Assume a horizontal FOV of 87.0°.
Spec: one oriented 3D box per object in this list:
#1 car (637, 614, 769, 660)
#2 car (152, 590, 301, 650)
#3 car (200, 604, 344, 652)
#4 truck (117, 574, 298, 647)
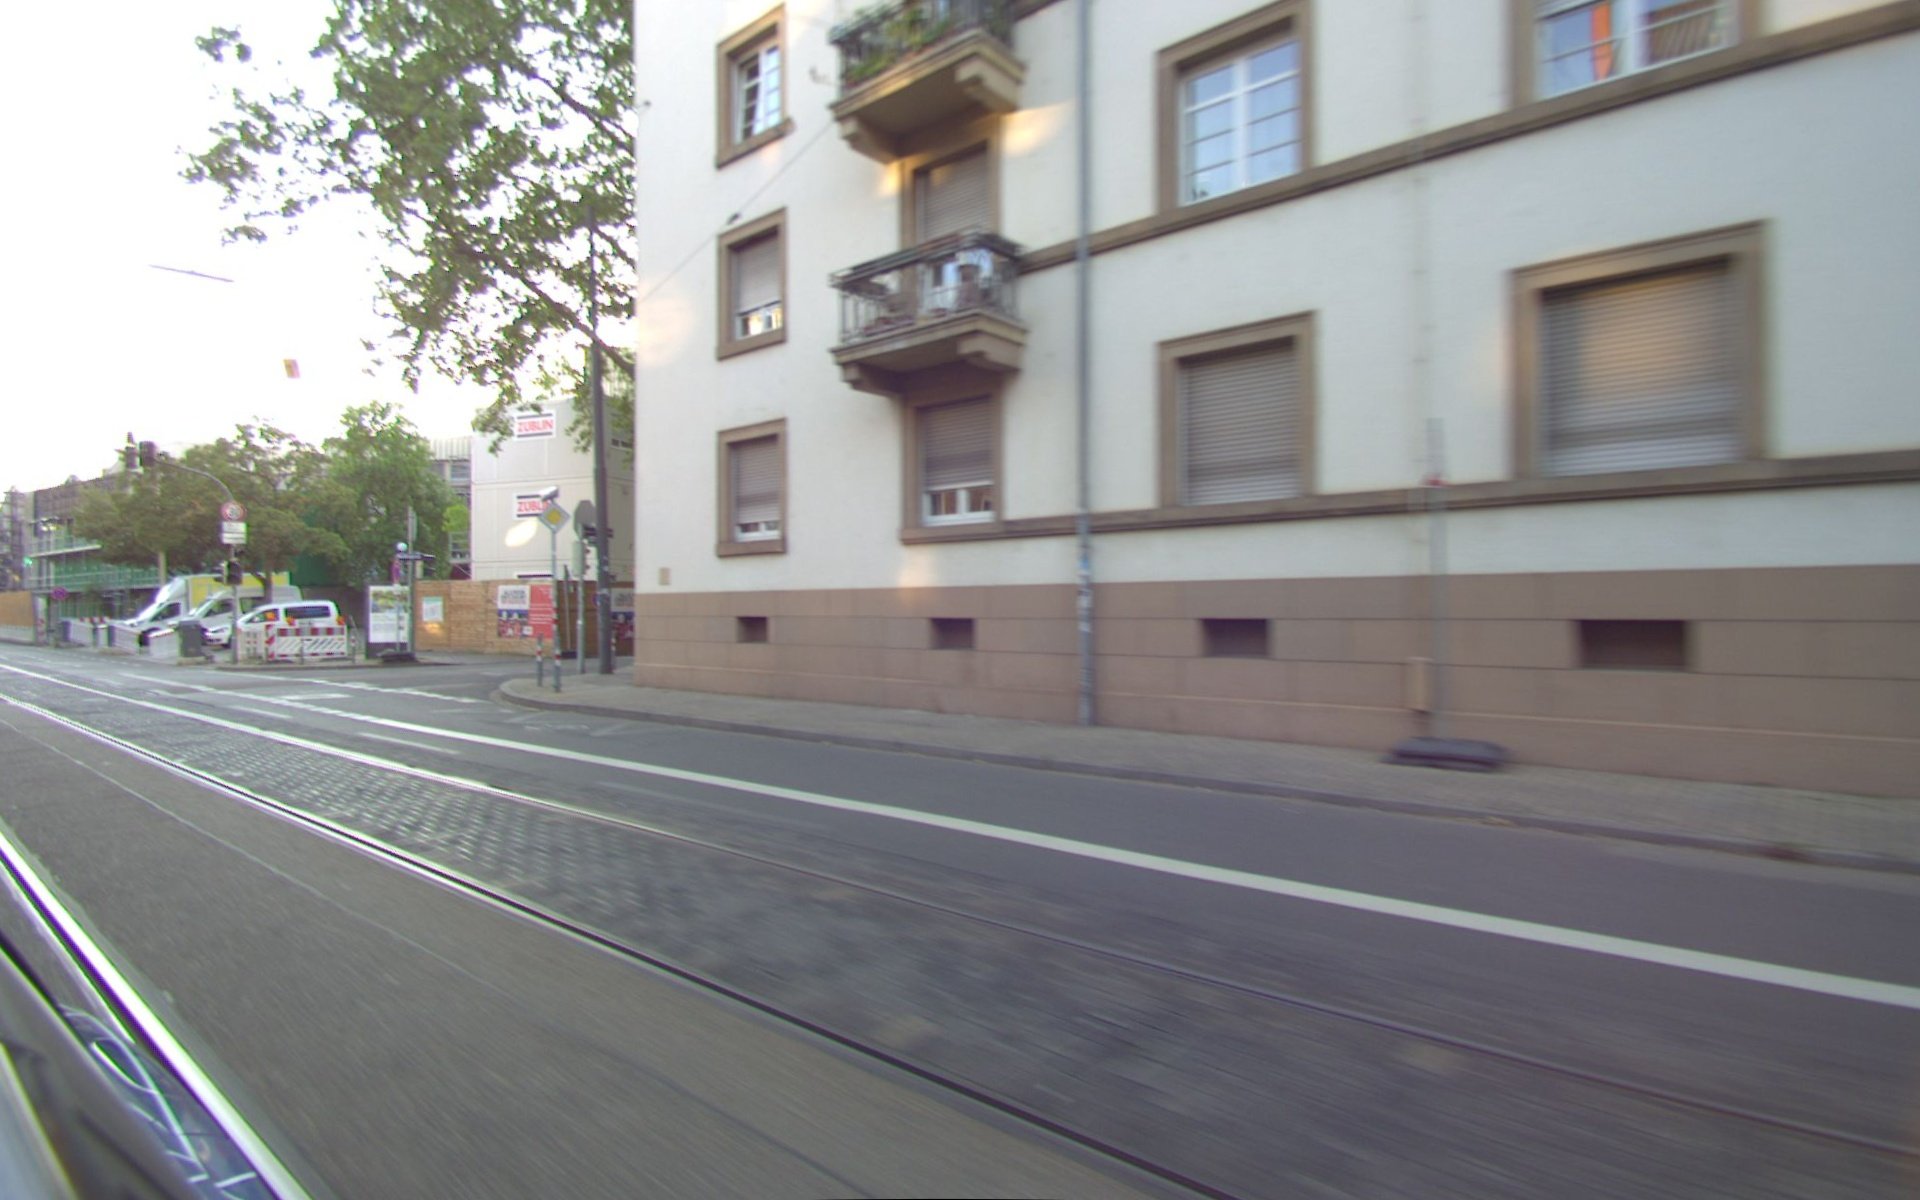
[{"bbox_3d":[-8.704,1.233,34.492,1.758,1.370,4.036,-4,-3,42],"label":"car"},{"bbox_3d":[-33.956,0.872,46.985,2.226,2.617,5.170,-2,-1,37],"label":"car"},{"bbox_3d":[-29.495,1.171,43.482,2.015,1.888,4.781,-2,-1,42],"label":"car"},{"bbox_3d":[-38.058,0.506,51.422,2.562,3.454,6.991,-2,-1,37],"label":"truck"}]
